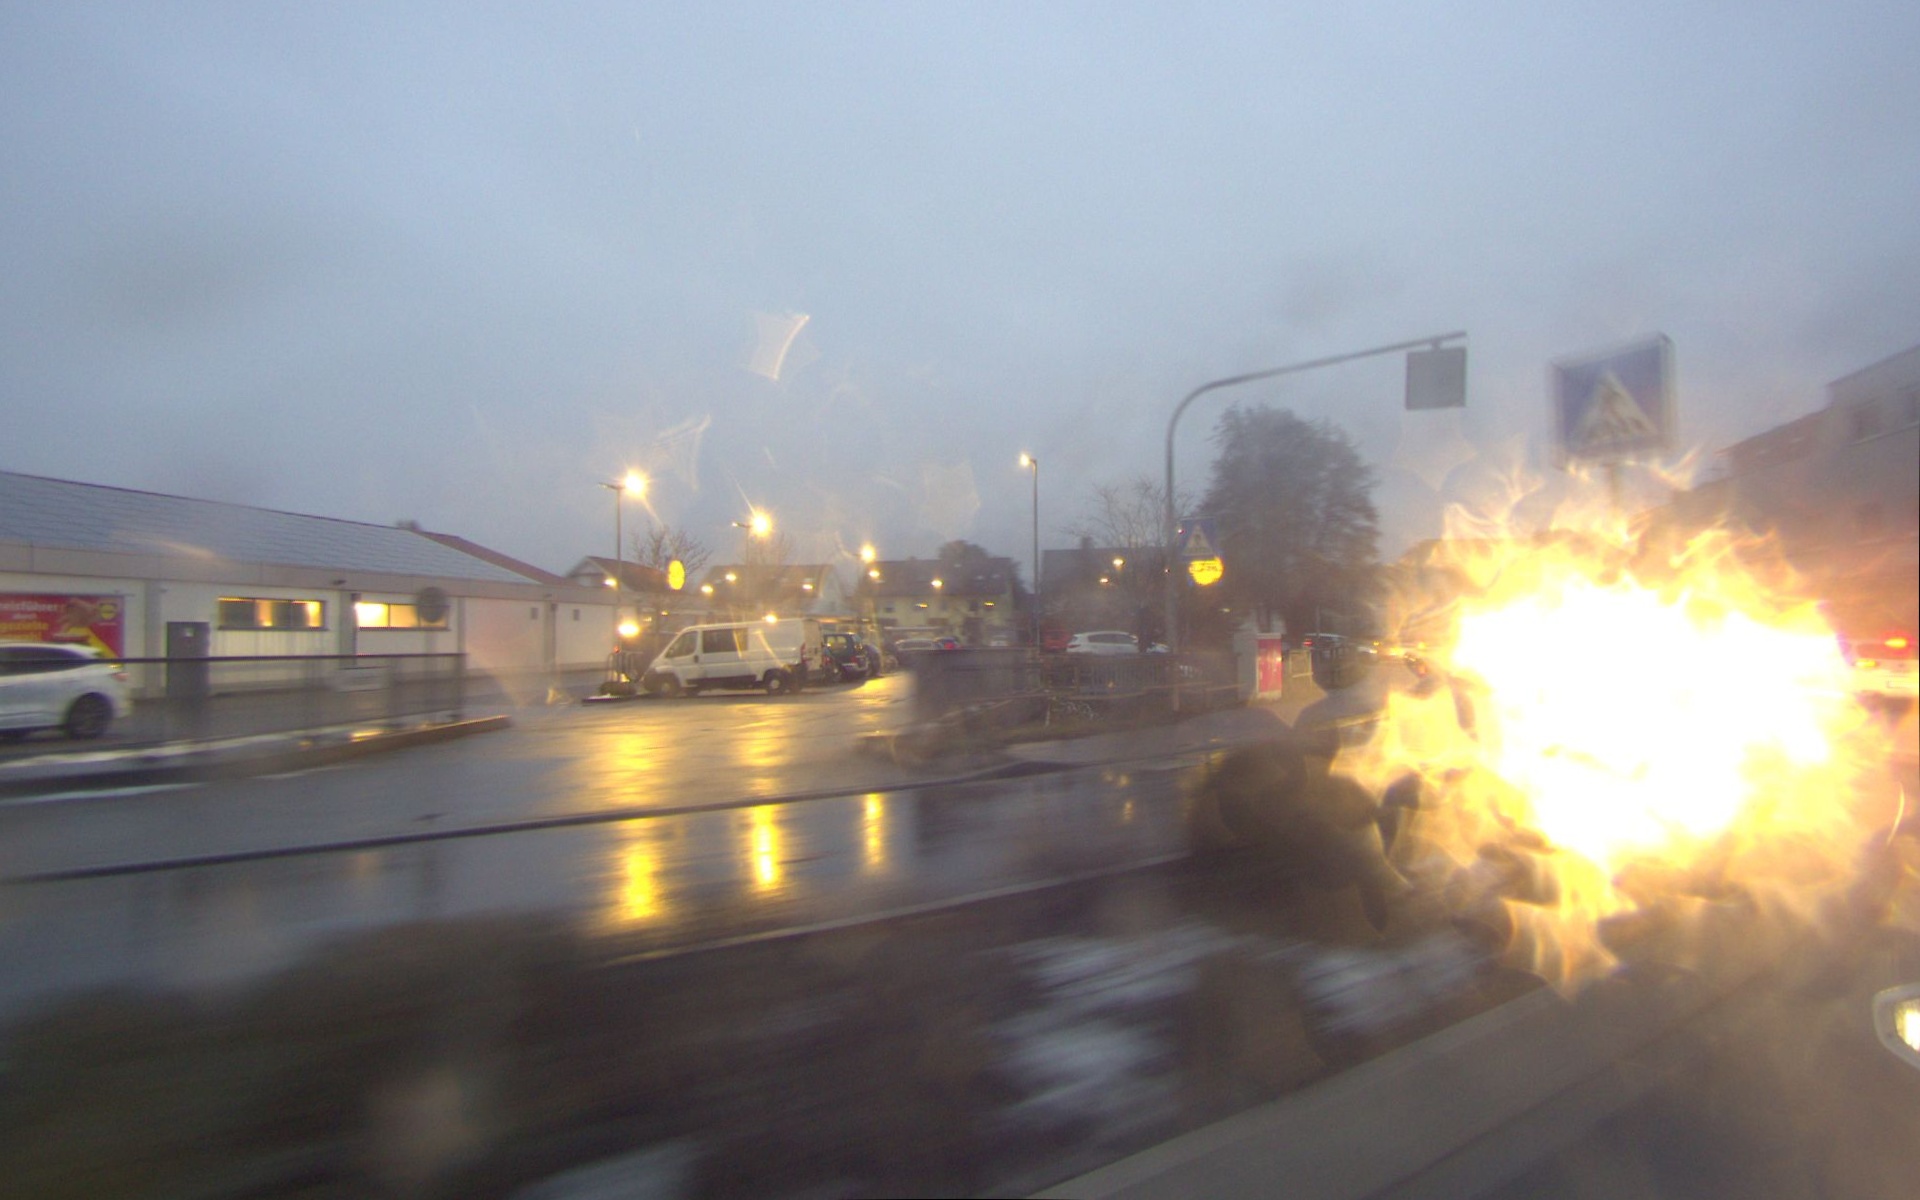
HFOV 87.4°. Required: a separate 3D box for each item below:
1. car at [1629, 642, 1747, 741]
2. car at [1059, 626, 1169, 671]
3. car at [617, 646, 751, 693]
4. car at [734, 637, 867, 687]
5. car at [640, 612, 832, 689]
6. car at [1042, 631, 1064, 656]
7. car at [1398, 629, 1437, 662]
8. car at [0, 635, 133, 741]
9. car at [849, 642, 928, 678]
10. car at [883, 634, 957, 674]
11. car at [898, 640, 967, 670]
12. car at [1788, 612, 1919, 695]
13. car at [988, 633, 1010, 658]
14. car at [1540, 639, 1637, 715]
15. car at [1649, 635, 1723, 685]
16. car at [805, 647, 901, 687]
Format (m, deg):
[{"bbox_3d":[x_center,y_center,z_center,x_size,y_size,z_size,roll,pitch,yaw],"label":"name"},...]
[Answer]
[{"bbox_3d":[17.903,2.145,24.766,2.135,2.087,4.555,-2,-2,36],"label":"car"},{"bbox_3d":[6.241,1.960,40.598,4.268,1.770,1.707,-1,-1,12],"label":"car"},{"bbox_3d":[-11.176,2.773,40.759,4.950,1.687,1.797,1,-1,13],"label":"car"},{"bbox_3d":[-5.762,2.222,36.536,4.417,1.646,1.847,1,-1,7],"label":"car"},{"bbox_3d":[-6.773,1.492,30.661,5.313,2.162,2.034,1,-1,7],"label":"car"},{"bbox_3d":[7.870,3.687,85.347,1.672,1.942,4.001,0,0,2],"label":"car"},{"bbox_3d":[27.139,2.681,59.647,2.031,1.858,4.568,-1,-2,24],"label":"car"},{"bbox_3d":[-15.989,1.402,15.796,2.023,1.582,4.284,1,-1,11],"label":"car"},{"bbox_3d":[-3.631,3.036,51.339,3.715,1.712,1.736,0,0,9],"label":"car"},{"bbox_3d":[-2.142,2.909,54.407,3.715,2.040,1.736,0,0,9],"label":"car"},{"bbox_3d":[-1.544,3.167,57.890,3.715,1.567,1.736,0,0,9],"label":"car"},{"bbox_3d":[20.636,1.137,22.821,2.133,1.712,4.561,-2,-2,31],"label":"car"},{"bbox_3d":[3.378,3.931,87.350,1.834,2.040,4.001,0,0,2],"label":"car"},{"bbox_3d":[19.529,2.289,31.121,2.136,2.087,4.554,-2,-2,37],"label":"car"},{"bbox_3d":[28.339,2.292,39.329,2.035,1.739,4.560,-2,-2,32],"label":"car"},{"bbox_3d":[-4.594,2.867,43.219,3.773,1.561,1.730,1,-1,9],"label":"car"}]
